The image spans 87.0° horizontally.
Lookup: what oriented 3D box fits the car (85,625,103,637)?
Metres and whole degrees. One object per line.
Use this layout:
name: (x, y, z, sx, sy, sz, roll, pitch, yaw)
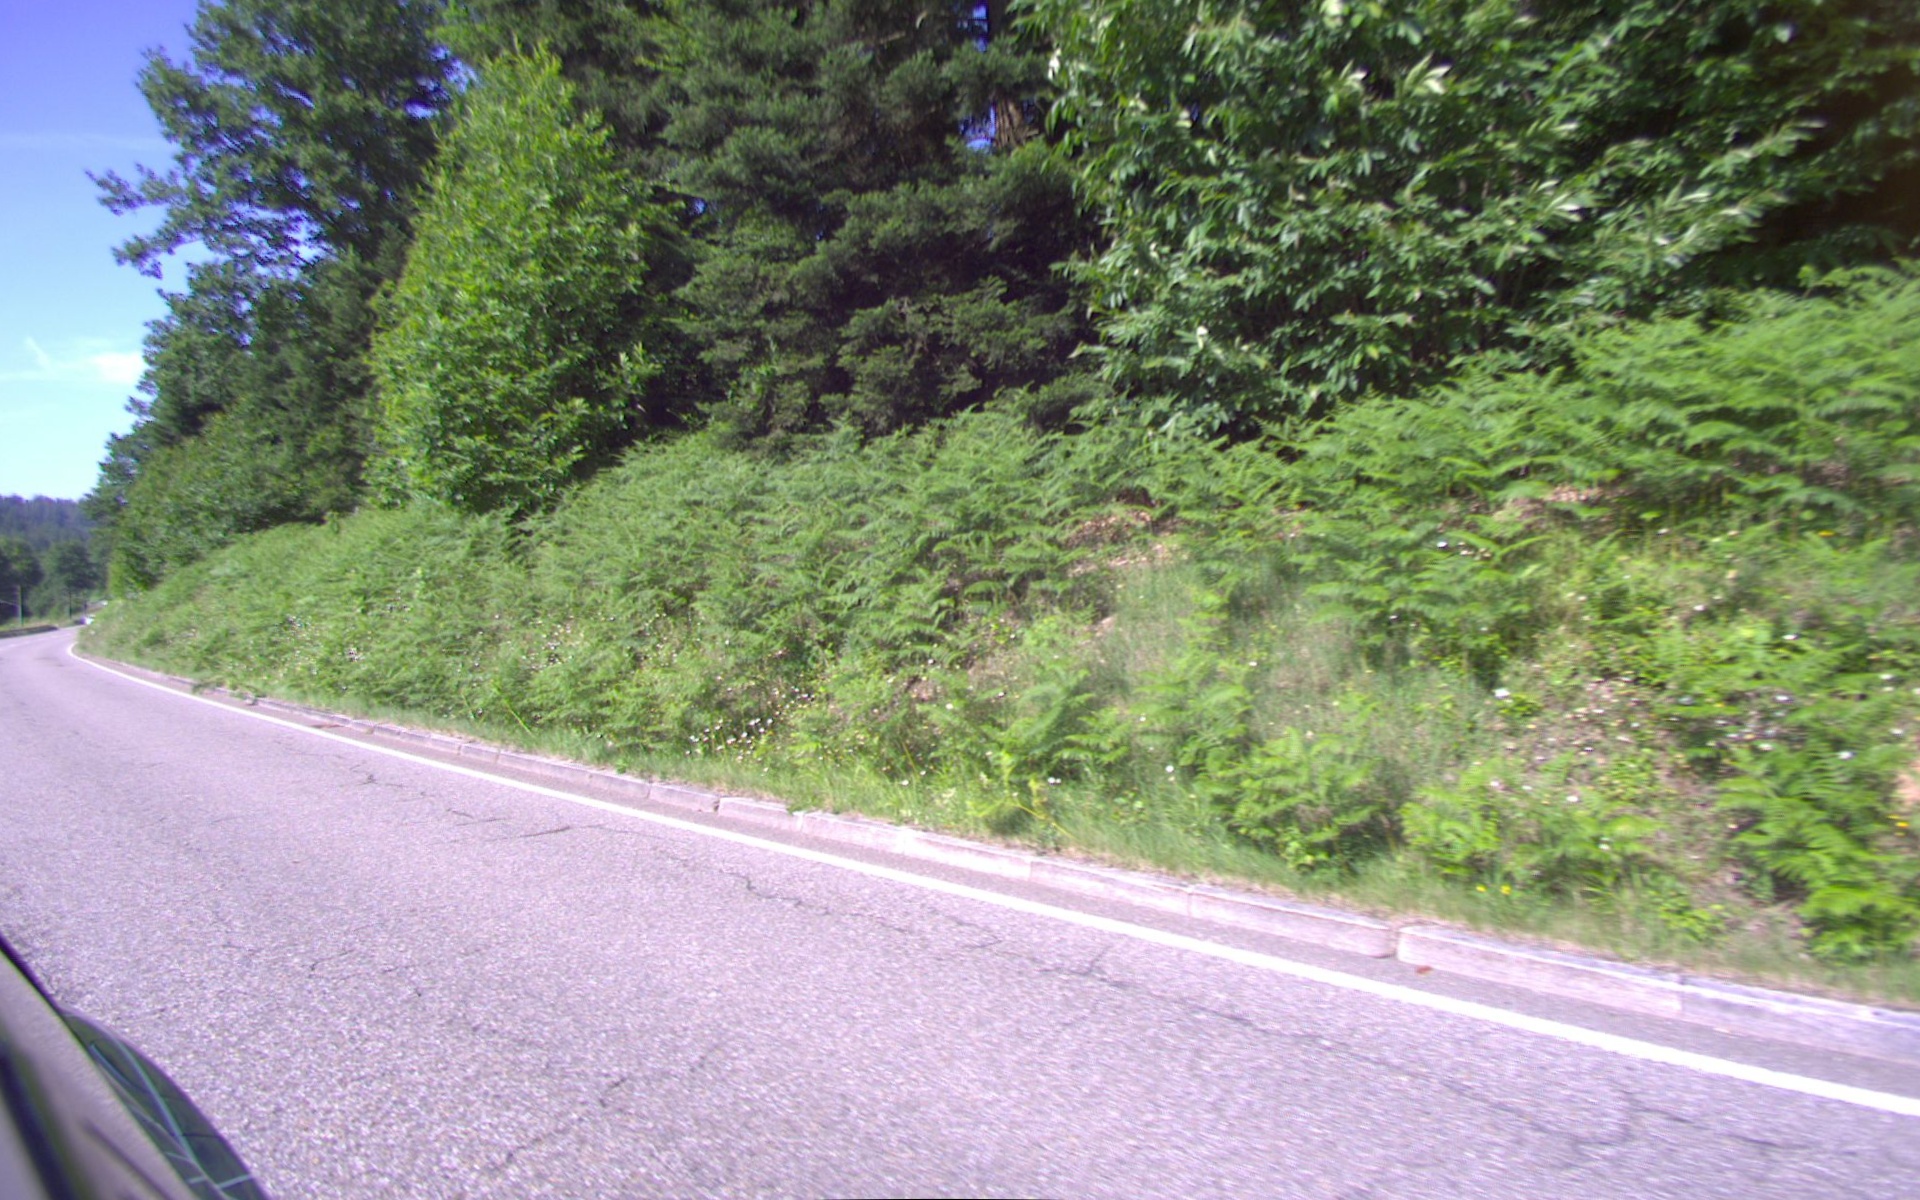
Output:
car: (-125.319, 4.420, 146.460, 1.679, 1.563, 3.791, -3, 2, -44)
